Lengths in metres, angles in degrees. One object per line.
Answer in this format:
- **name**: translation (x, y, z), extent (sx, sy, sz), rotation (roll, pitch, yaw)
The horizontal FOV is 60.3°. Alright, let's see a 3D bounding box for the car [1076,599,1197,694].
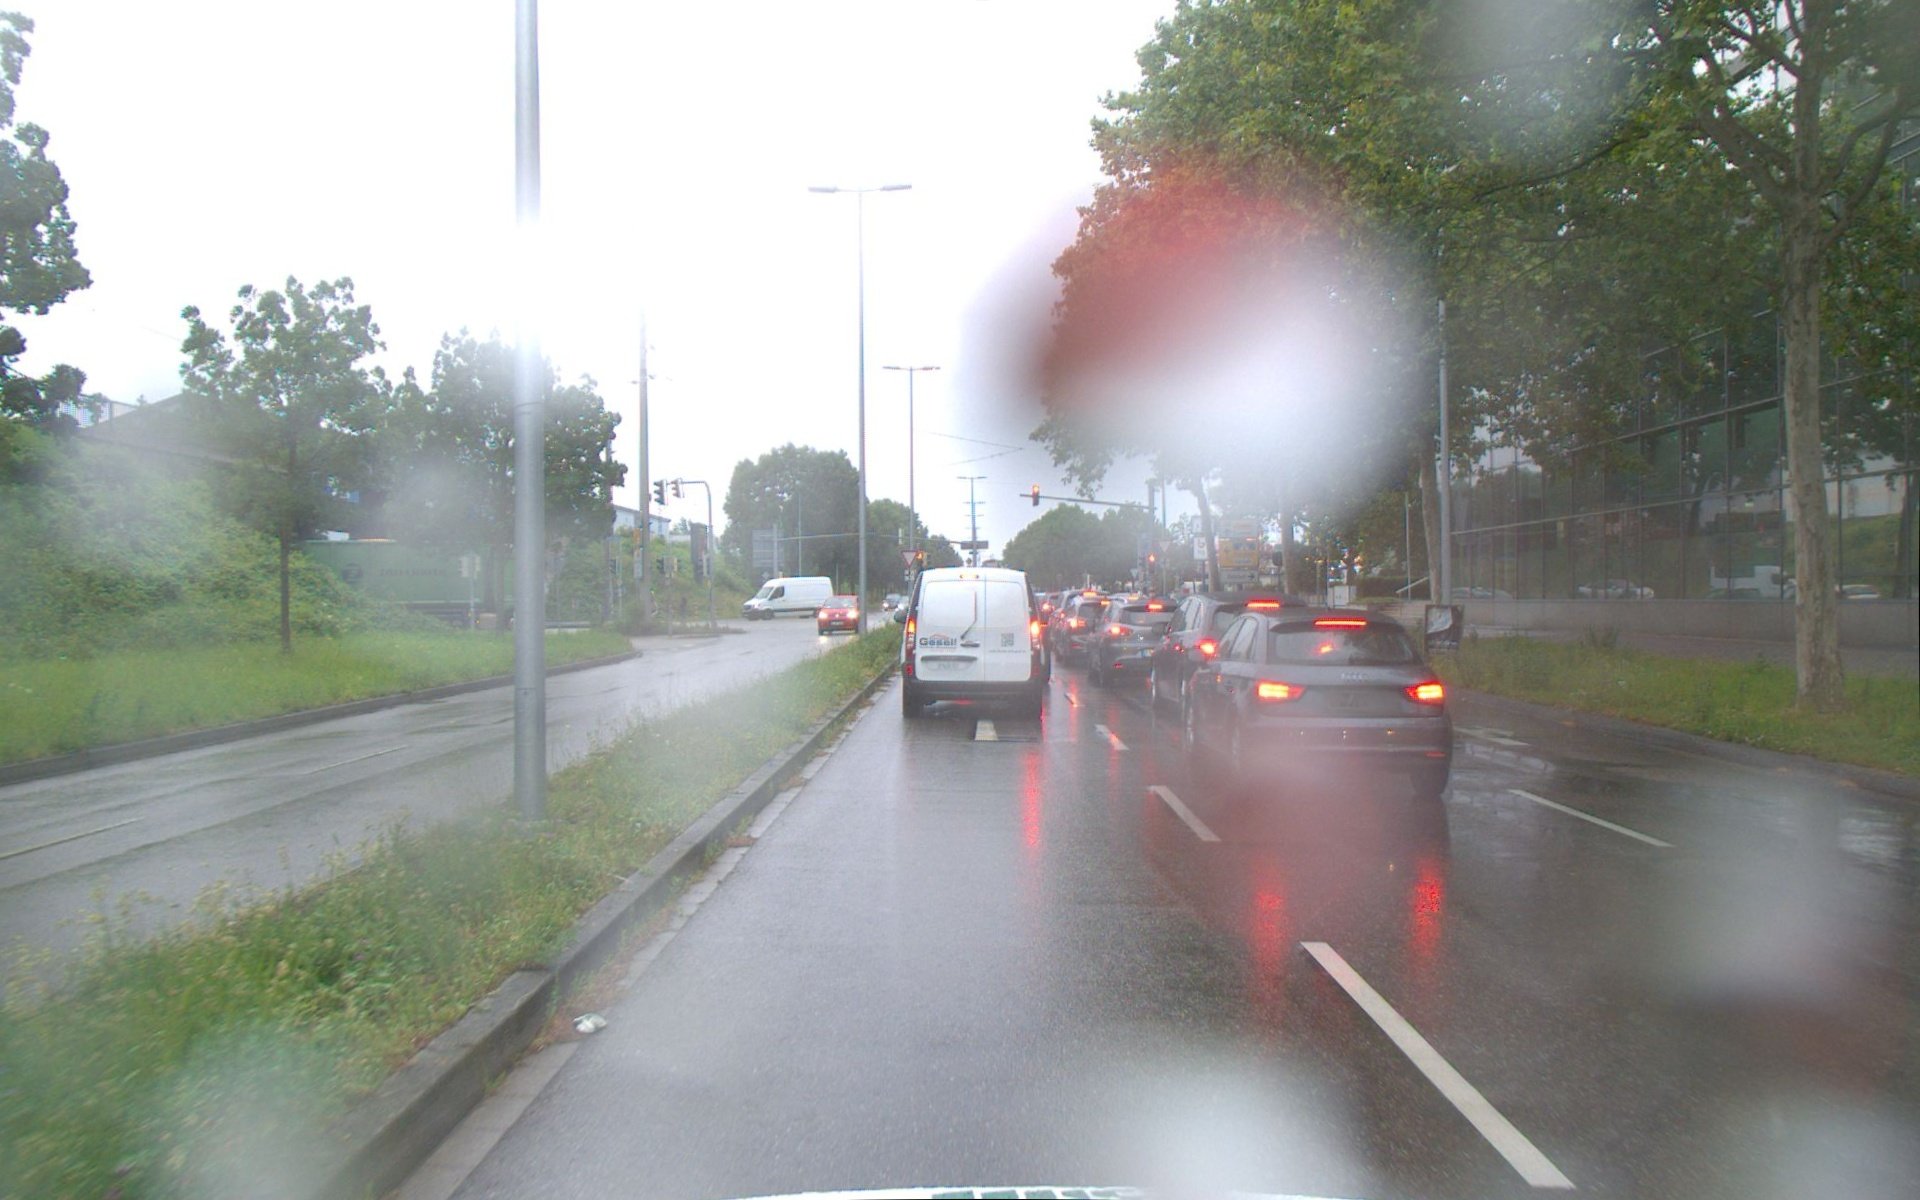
- **car**: translation (2.936, 0.735, 28.216), extent (1.676, 1.470, 4.000), rotation (0, 0, 0)

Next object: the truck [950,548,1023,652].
- **truck**: translation (0.638, 0.007, 42.229), extent (1.721, 2.509, 3.999), rotation (0, 0, -1)

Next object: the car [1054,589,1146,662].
- **car**: translation (2.960, 0.510, 35.642), extent (1.676, 1.470, 4.000), rotation (0, 0, 0)

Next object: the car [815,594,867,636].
- **car**: translation (-4.679, 0.557, 65.341), extent (1.680, 1.540, 3.615), rotation (-2, 0, 1)

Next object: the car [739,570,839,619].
- **car**: translation (-10.477, -0.302, 101.641), extent (5.953, 2.792, 1.974), rotation (1, -2, -36)

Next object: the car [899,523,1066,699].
- **car**: translation (0.230, 0.177, 21.355), extent (1.953, 2.049, 3.998), rotation (0, -1, -1)

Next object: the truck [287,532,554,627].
- **truck**: translation (-21.771, -0.721, 67.283), extent (10.031, 3.512, 2.624), rotation (1, -2, -37)

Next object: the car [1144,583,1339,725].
- **car**: translation (3.411, 0.593, 20.724), extent (1.674, 1.577, 3.999), rotation (0, 1, -1)

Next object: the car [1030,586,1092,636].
- **car**: translation (3.068, 0.301, 50.878), extent (1.676, 1.470, 4.000), rotation (0, 0, 0)

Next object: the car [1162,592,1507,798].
- **car**: translation (2.978, 0.697, 14.057), extent (1.953, 1.478, 3.999), rotation (1, 0, -1)
